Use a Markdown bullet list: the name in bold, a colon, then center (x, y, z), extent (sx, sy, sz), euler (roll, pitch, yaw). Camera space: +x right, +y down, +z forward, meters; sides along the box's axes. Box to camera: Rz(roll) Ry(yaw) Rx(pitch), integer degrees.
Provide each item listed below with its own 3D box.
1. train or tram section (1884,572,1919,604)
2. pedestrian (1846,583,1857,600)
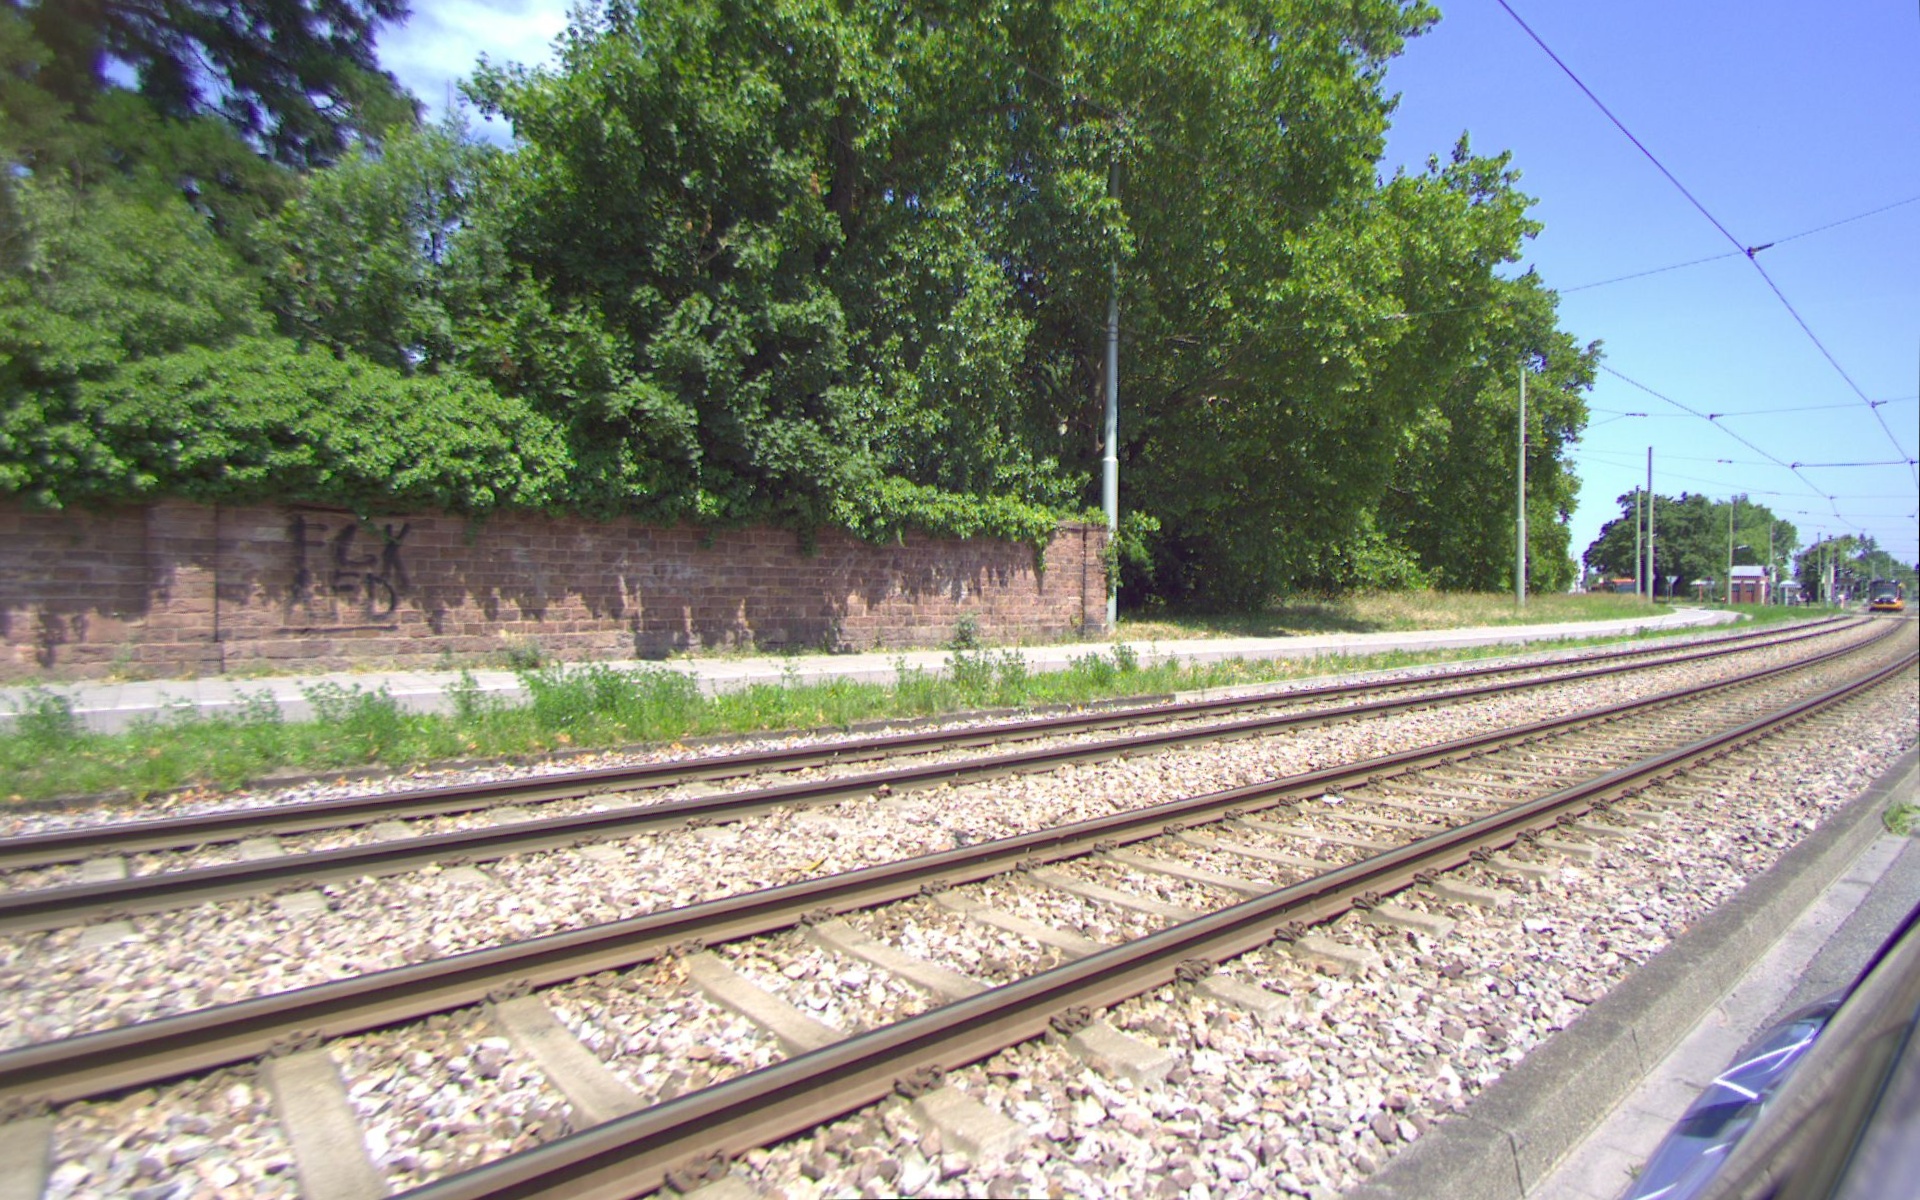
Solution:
- **train or tram section**: center (104.220, -1.288, 111.941), extent (7.140, 3.364, 2.520), euler (0, 1, -44)
- **pedestrian**: center (89.495, -0.858, 101.582), extent (0.631, 1.781, 0.807), euler (-1, 0, 32)
